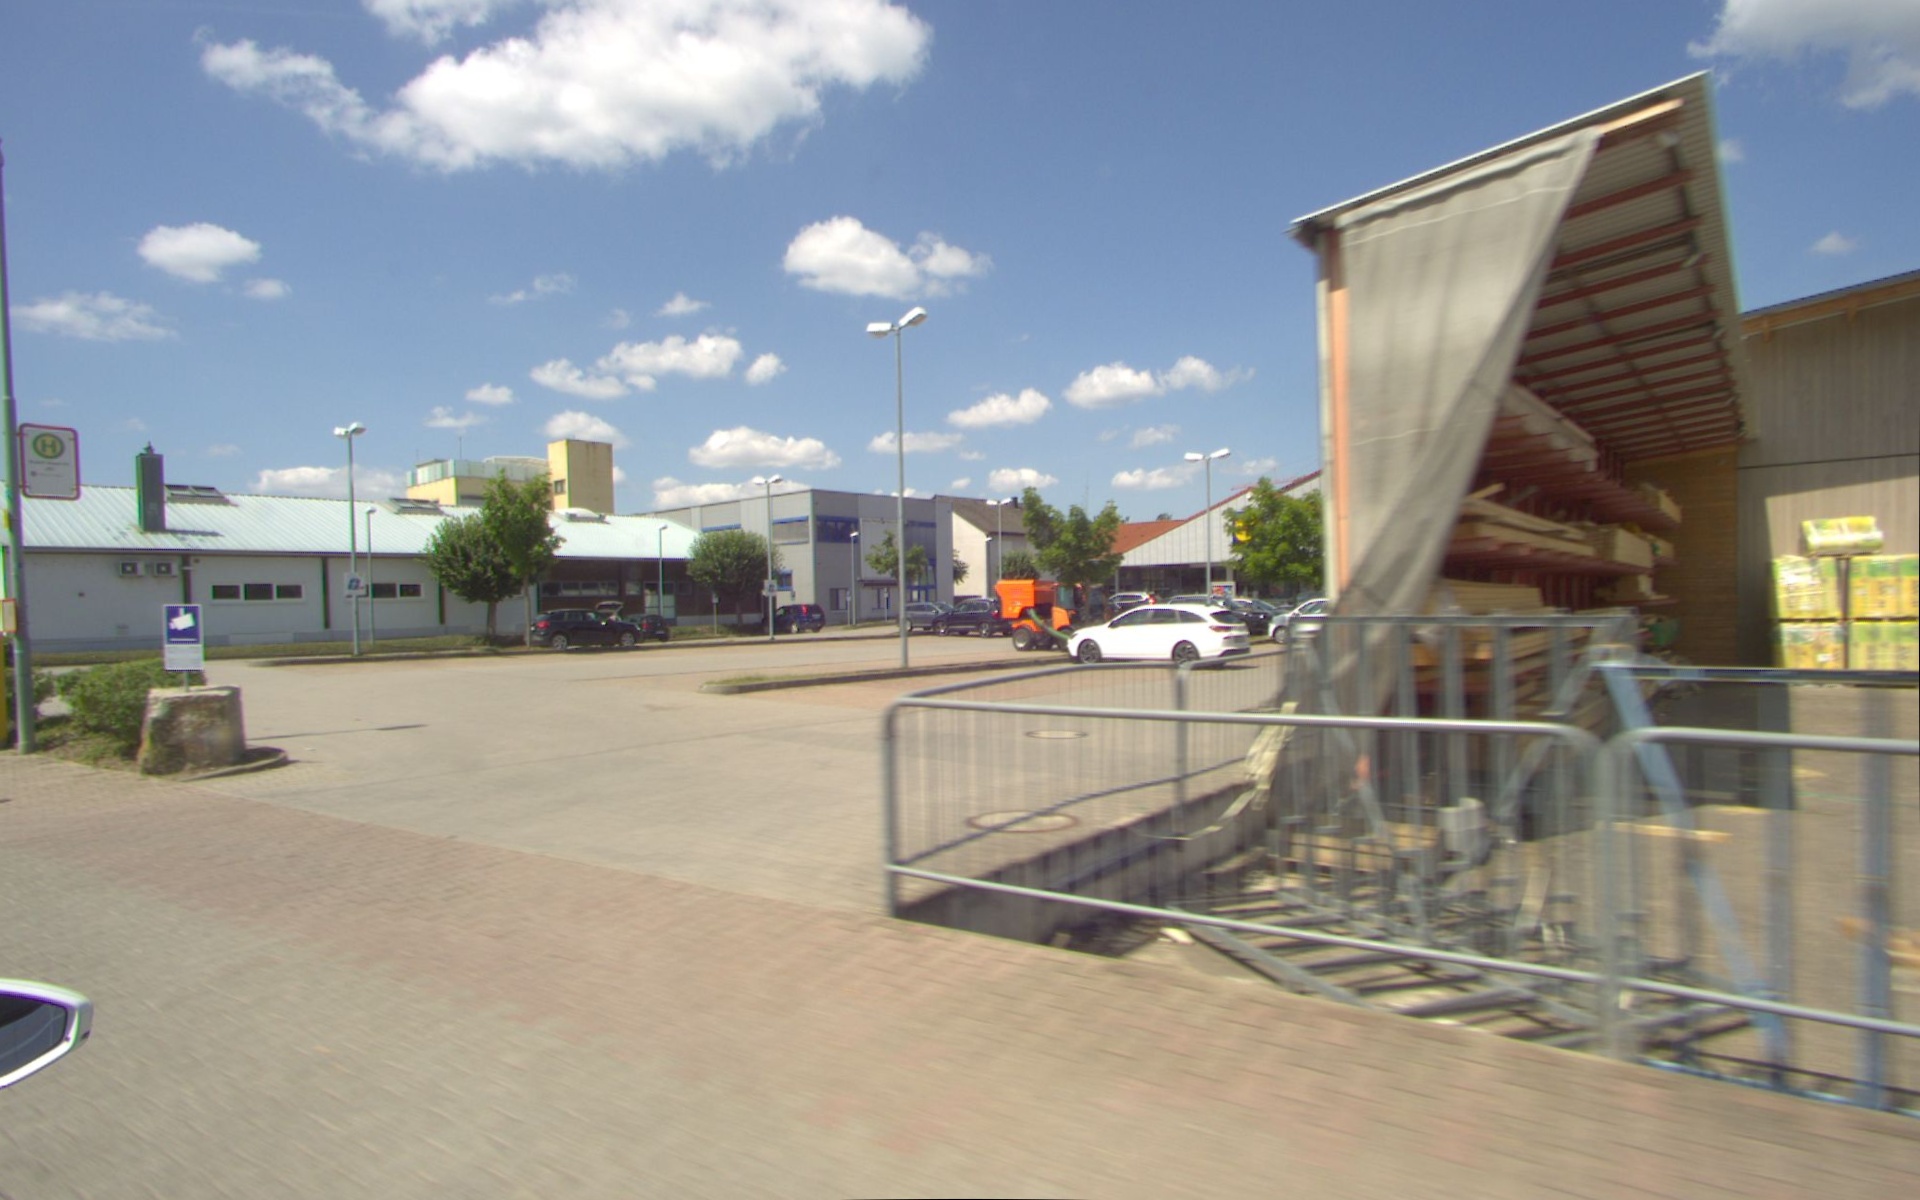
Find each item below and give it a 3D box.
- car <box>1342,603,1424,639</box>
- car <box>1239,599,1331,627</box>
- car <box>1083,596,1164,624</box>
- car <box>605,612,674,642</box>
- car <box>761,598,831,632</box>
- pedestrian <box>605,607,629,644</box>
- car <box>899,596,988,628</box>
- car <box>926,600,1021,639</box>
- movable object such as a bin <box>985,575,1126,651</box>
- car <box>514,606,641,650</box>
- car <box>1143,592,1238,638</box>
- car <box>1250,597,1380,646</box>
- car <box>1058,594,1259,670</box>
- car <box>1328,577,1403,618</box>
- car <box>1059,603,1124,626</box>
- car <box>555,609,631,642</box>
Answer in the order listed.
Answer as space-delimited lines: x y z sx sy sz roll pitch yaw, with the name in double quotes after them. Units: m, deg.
16.248 0.792 38.452 2.764 1.326 1.492 -1 0 28 "car"
14.998 0.575 46.367 1.597 1.189 3.752 -3 2 -43 "car"
8.644 0.561 53.098 3.943 1.429 1.577 -1 0 32 "car"
-16.162 1.356 50.416 3.700 1.443 1.580 -1 -1 39 "car"
-9.654 0.895 58.819 3.941 1.730 1.879 -4 -1 40 "car"
-16.069 1.201 46.911 0.724 1.659 0.774 -3 0 -45 "pedestrian"
-0.898 0.618 51.321 4.559 1.614 1.575 -1 0 36 "car"
0.577 0.839 44.057 3.943 1.652 1.577 -1 0 32 "car"
3.008 0.385 32.169 4.475 2.234 1.669 0 2 45 "movable object such as a bin"
-14.133 1.002 37.099 3.959 1.514 1.981 -1 0 -43 "car"
9.082 0.595 39.583 3.308 1.633 1.496 -4 -1 45 "car"
12.173 0.734 34.455 3.947 1.595 1.575 -1 0 36 "car"
4.751 0.699 24.279 4.383 1.684 1.985 0 1 39 "car"
16.589 -0.089 41.005 2.636 1.588 1.218 -1 1 35 "car"
6.766 0.737 51.536 2.951 1.139 1.577 -1 0 32 "car"
-17.810 1.218 48.534 3.856 1.518 1.879 -1 0 42 "car"
